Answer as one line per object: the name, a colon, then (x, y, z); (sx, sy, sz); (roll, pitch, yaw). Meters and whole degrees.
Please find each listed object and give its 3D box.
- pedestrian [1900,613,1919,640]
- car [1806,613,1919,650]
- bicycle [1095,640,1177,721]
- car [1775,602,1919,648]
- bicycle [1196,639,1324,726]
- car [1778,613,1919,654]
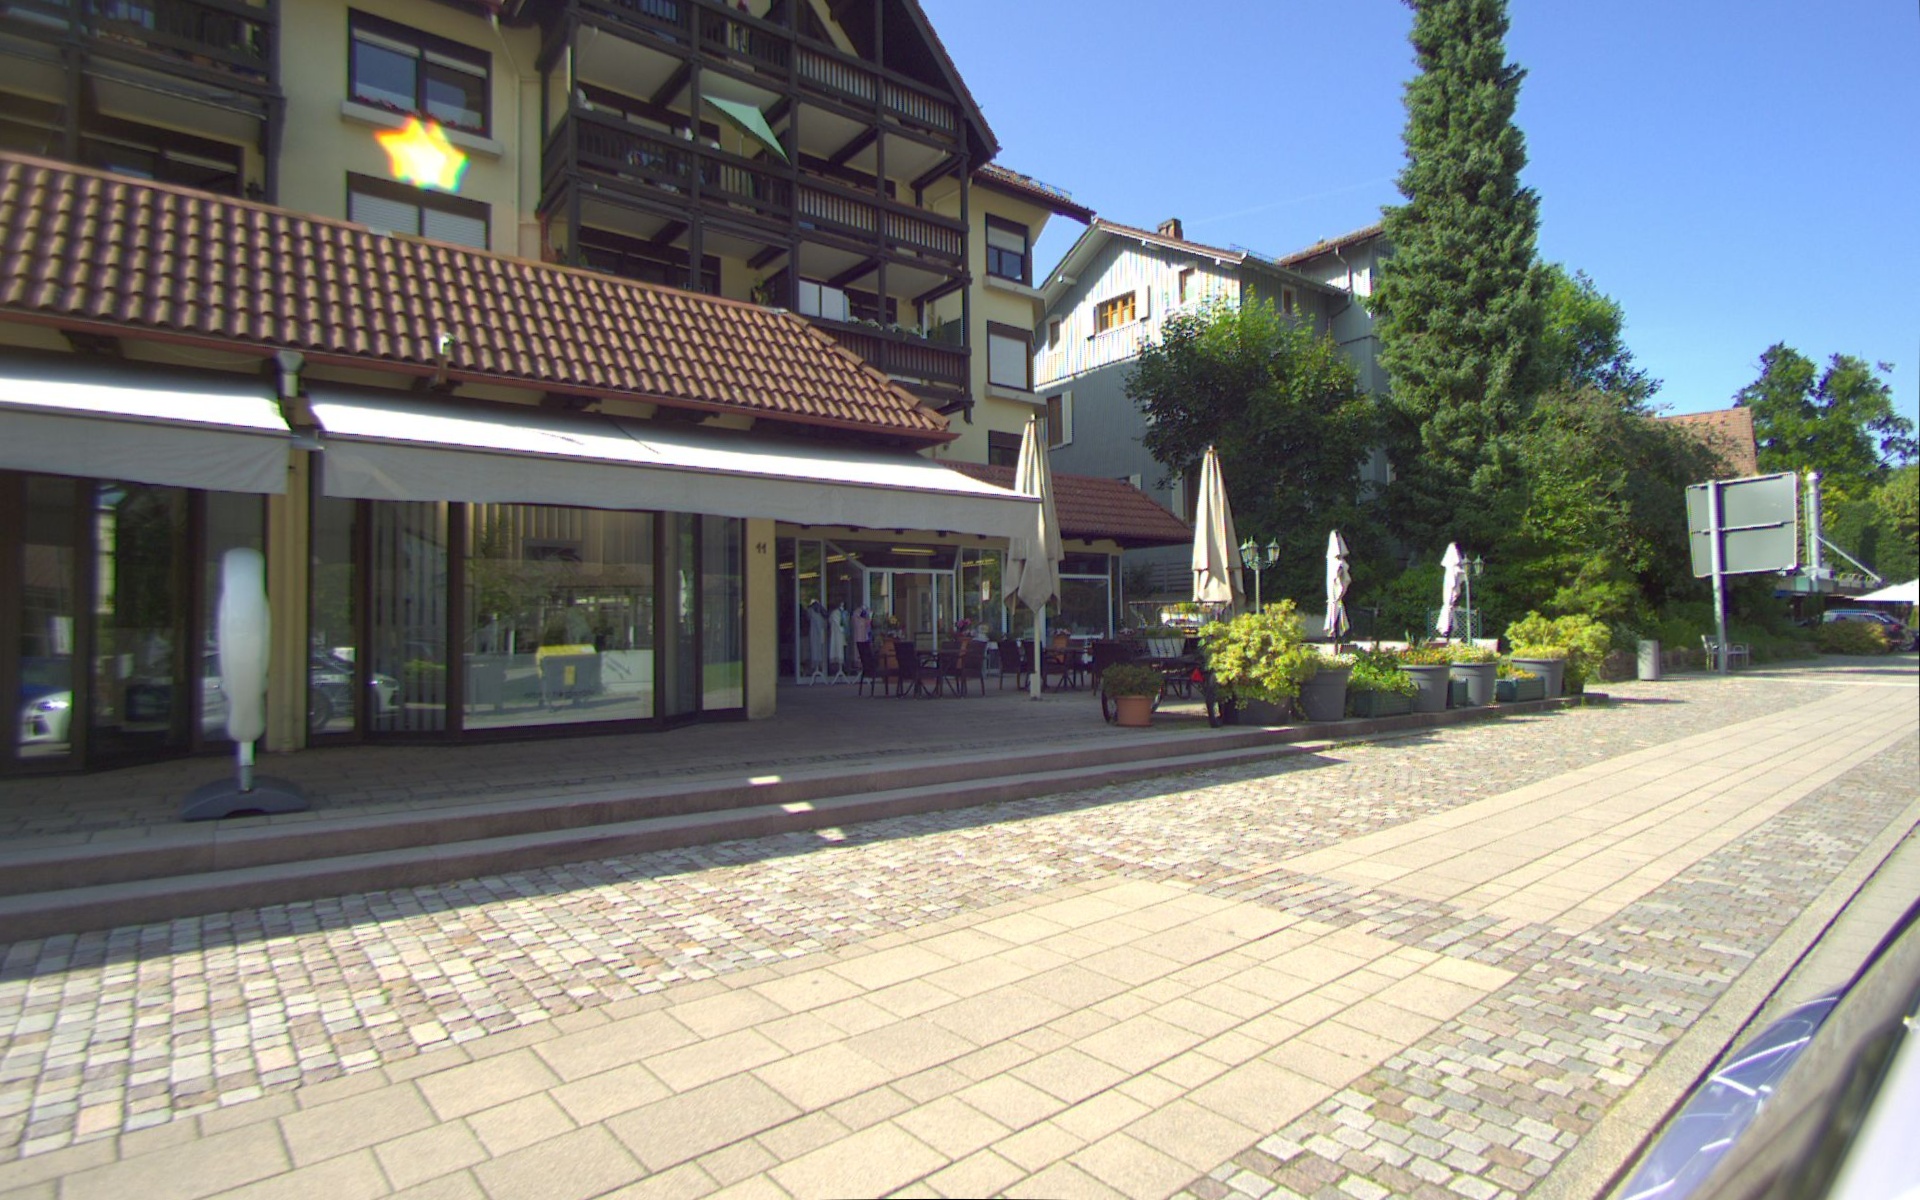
pedestrian: (47.043, 1.293, 50.015); (0.629, 1.321, 0.577); (0, -1, 17)
car: (36.291, 1.232, 39.829); (1.677, 1.396, 4.274); (0, -1, -36)
bicycle: (2.100, 0.925, 11.940); (0.394, 0.853, 1.598); (-3, -2, 30)
car: (32.198, 0.901, 36.671); (1.718, 1.600, 3.881); (1, -2, -41)
bicycle: (3.340, 0.887, 11.224); (1.584, 0.875, 0.397); (0, -2, -33)
car: (33.884, 1.258, 38.401); (1.716, 1.433, 4.121); (0, -1, -36)
